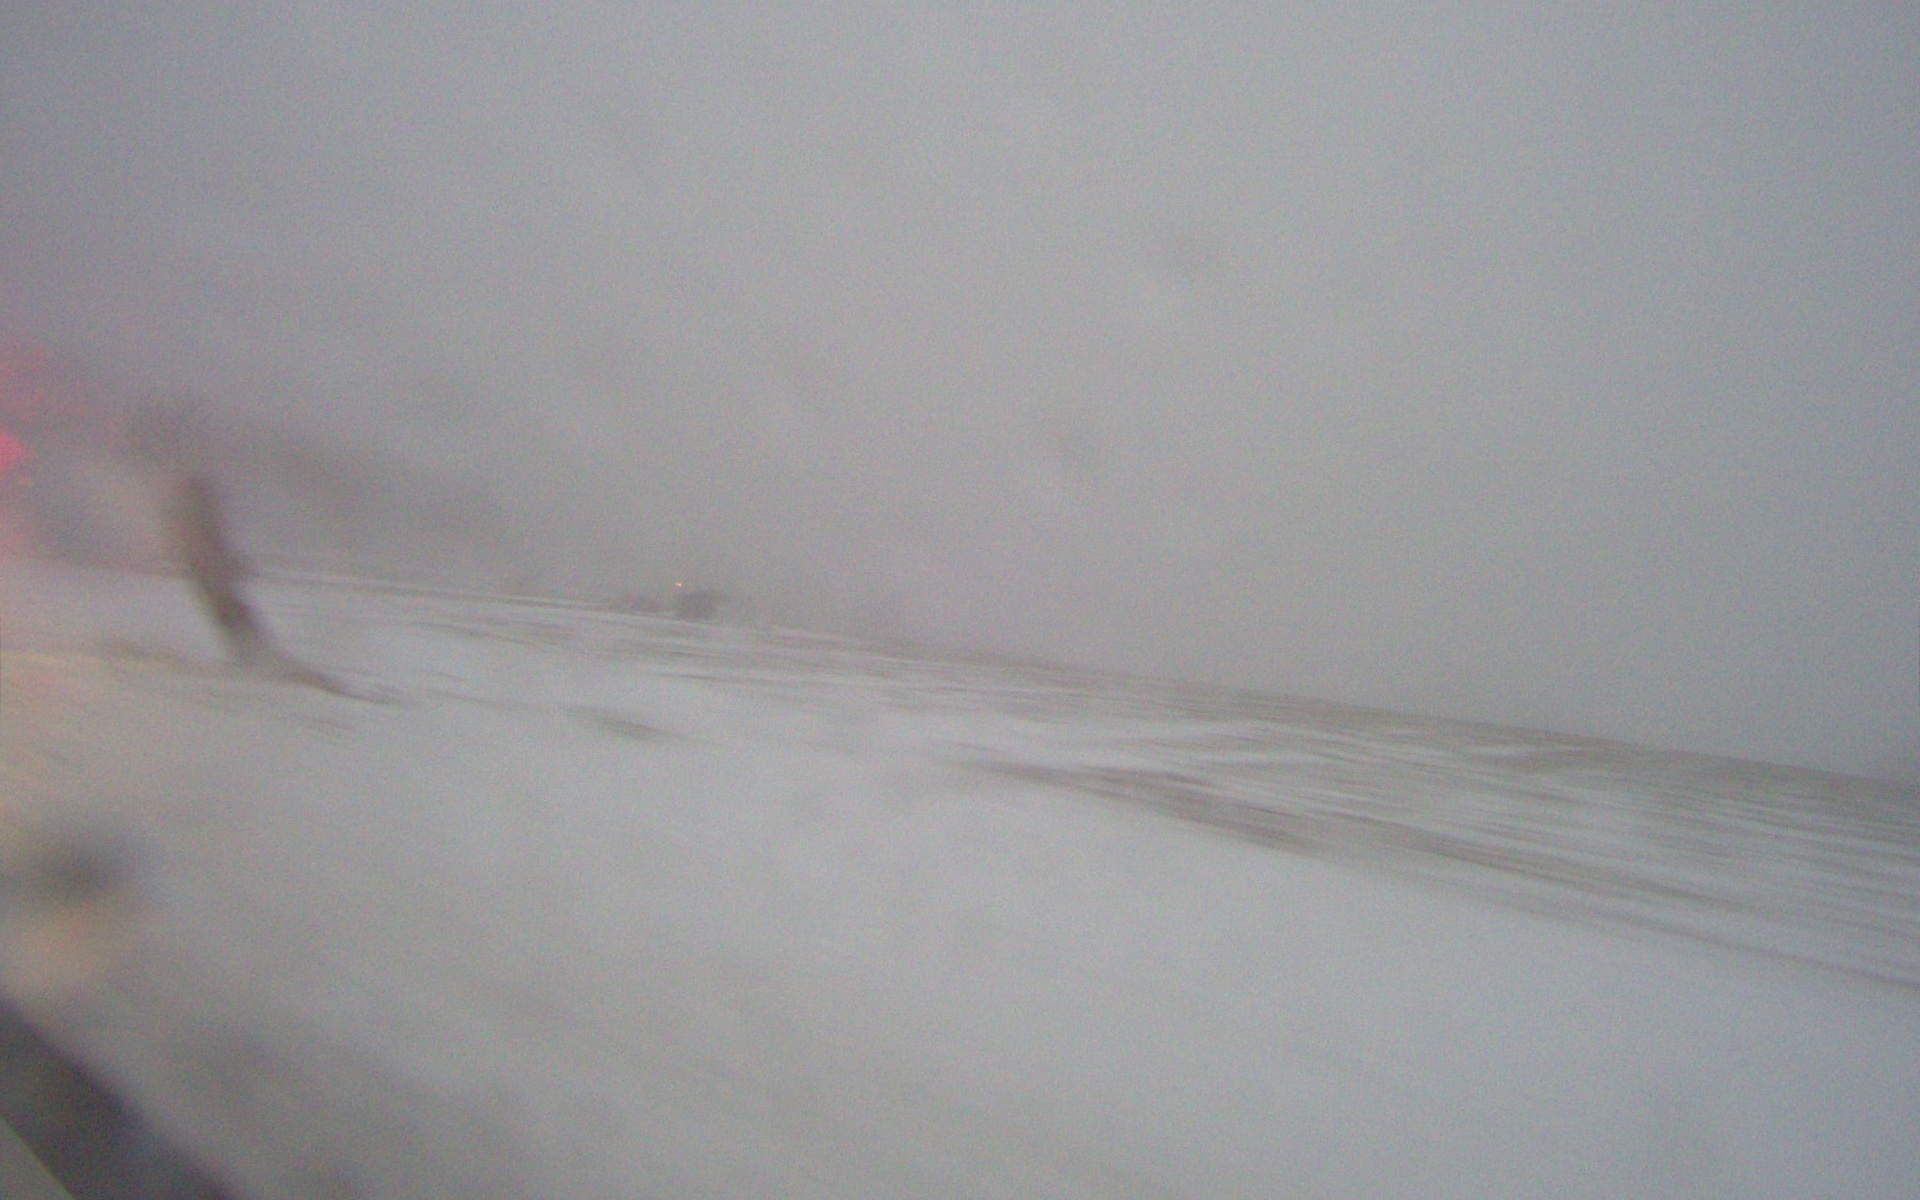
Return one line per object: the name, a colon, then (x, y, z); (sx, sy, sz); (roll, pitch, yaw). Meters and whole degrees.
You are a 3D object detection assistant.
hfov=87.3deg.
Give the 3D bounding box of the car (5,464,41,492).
car: (-64.069, -8.346, 68.817); (1.515, 1.526, 3.020); (7, -1, -39)
